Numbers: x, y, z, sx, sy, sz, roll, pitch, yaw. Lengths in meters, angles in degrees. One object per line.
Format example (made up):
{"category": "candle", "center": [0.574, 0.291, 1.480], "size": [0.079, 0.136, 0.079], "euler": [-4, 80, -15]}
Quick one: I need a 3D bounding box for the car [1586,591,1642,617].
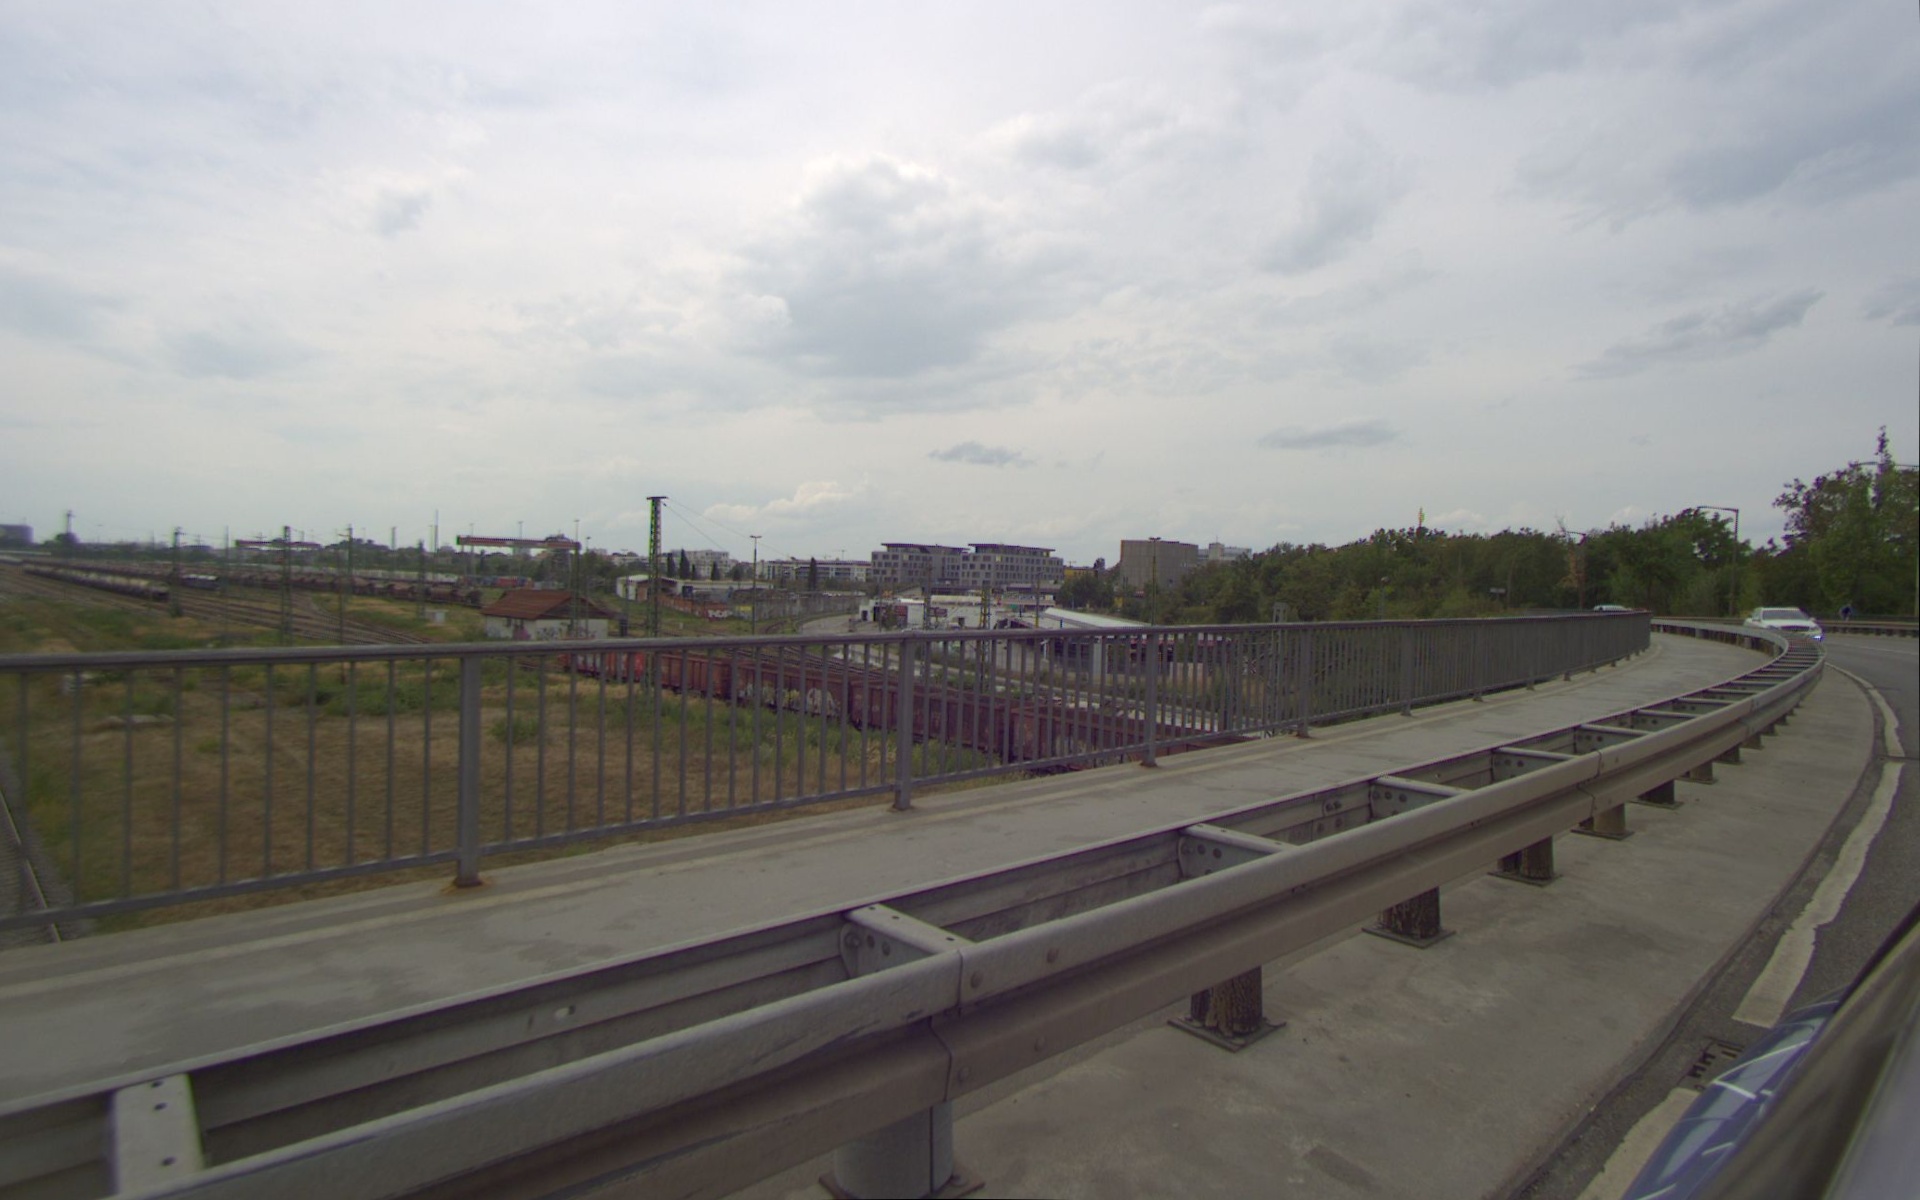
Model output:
{"category": "car", "center": [45.447, 0.297, 70.401], "size": [1.935, 1.727, 4.411], "euler": [0, -1, 14]}

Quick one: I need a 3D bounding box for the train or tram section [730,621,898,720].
{"category": "train or tram section", "center": [-10.050, 4.404, 67.738], "size": [3.780, 5.750, 13.873], "euler": [0, 0, -44]}

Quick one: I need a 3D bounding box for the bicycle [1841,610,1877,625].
{"category": "bicycle", "center": [48.759, 0.958, 54.923], "size": [0.684, 0.808, 1.883], "euler": [0, -1, 15]}

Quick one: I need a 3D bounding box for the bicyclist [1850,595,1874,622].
{"category": "bicyclist", "center": [48.708, 0.461, 54.658], "size": [0.703, 1.463, 0.744], "euler": [0, -1, 16]}

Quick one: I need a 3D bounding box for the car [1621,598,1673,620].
{"category": "car", "center": [49.636, 0.632, 73.171], "size": [1.738, 1.511, 3.985], "euler": [0, 0, 12]}

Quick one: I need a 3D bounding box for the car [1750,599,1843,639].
{"category": "car", "center": [32.504, 0.702, 39.449], "size": [1.919, 1.475, 3.852], "euler": [0, 0, 26]}

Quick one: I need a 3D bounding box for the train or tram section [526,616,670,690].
{"category": "train or tram section", "center": [-32.258, 4.374, 89.231], "size": [18.203, 5.714, 3.900], "euler": [0, 0, 42]}

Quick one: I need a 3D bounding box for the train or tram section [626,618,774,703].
{"category": "train or tram section", "center": [-20.294, 4.389, 78.019], "size": [14.968, 5.748, 3.914], "euler": [0, 0, 44]}

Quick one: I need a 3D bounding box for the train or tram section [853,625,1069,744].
{"category": "train or tram section", "center": [-0.366, 4.419, 57.439], "size": [3.597, 5.670, 14.227], "euler": [0, 0, -43]}

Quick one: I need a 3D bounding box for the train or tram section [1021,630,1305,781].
{"category": "train or tram section", "center": [8.883, 4.435, 47.078], "size": [3.589, 5.645, 13.628], "euler": [0, 0, -41]}
